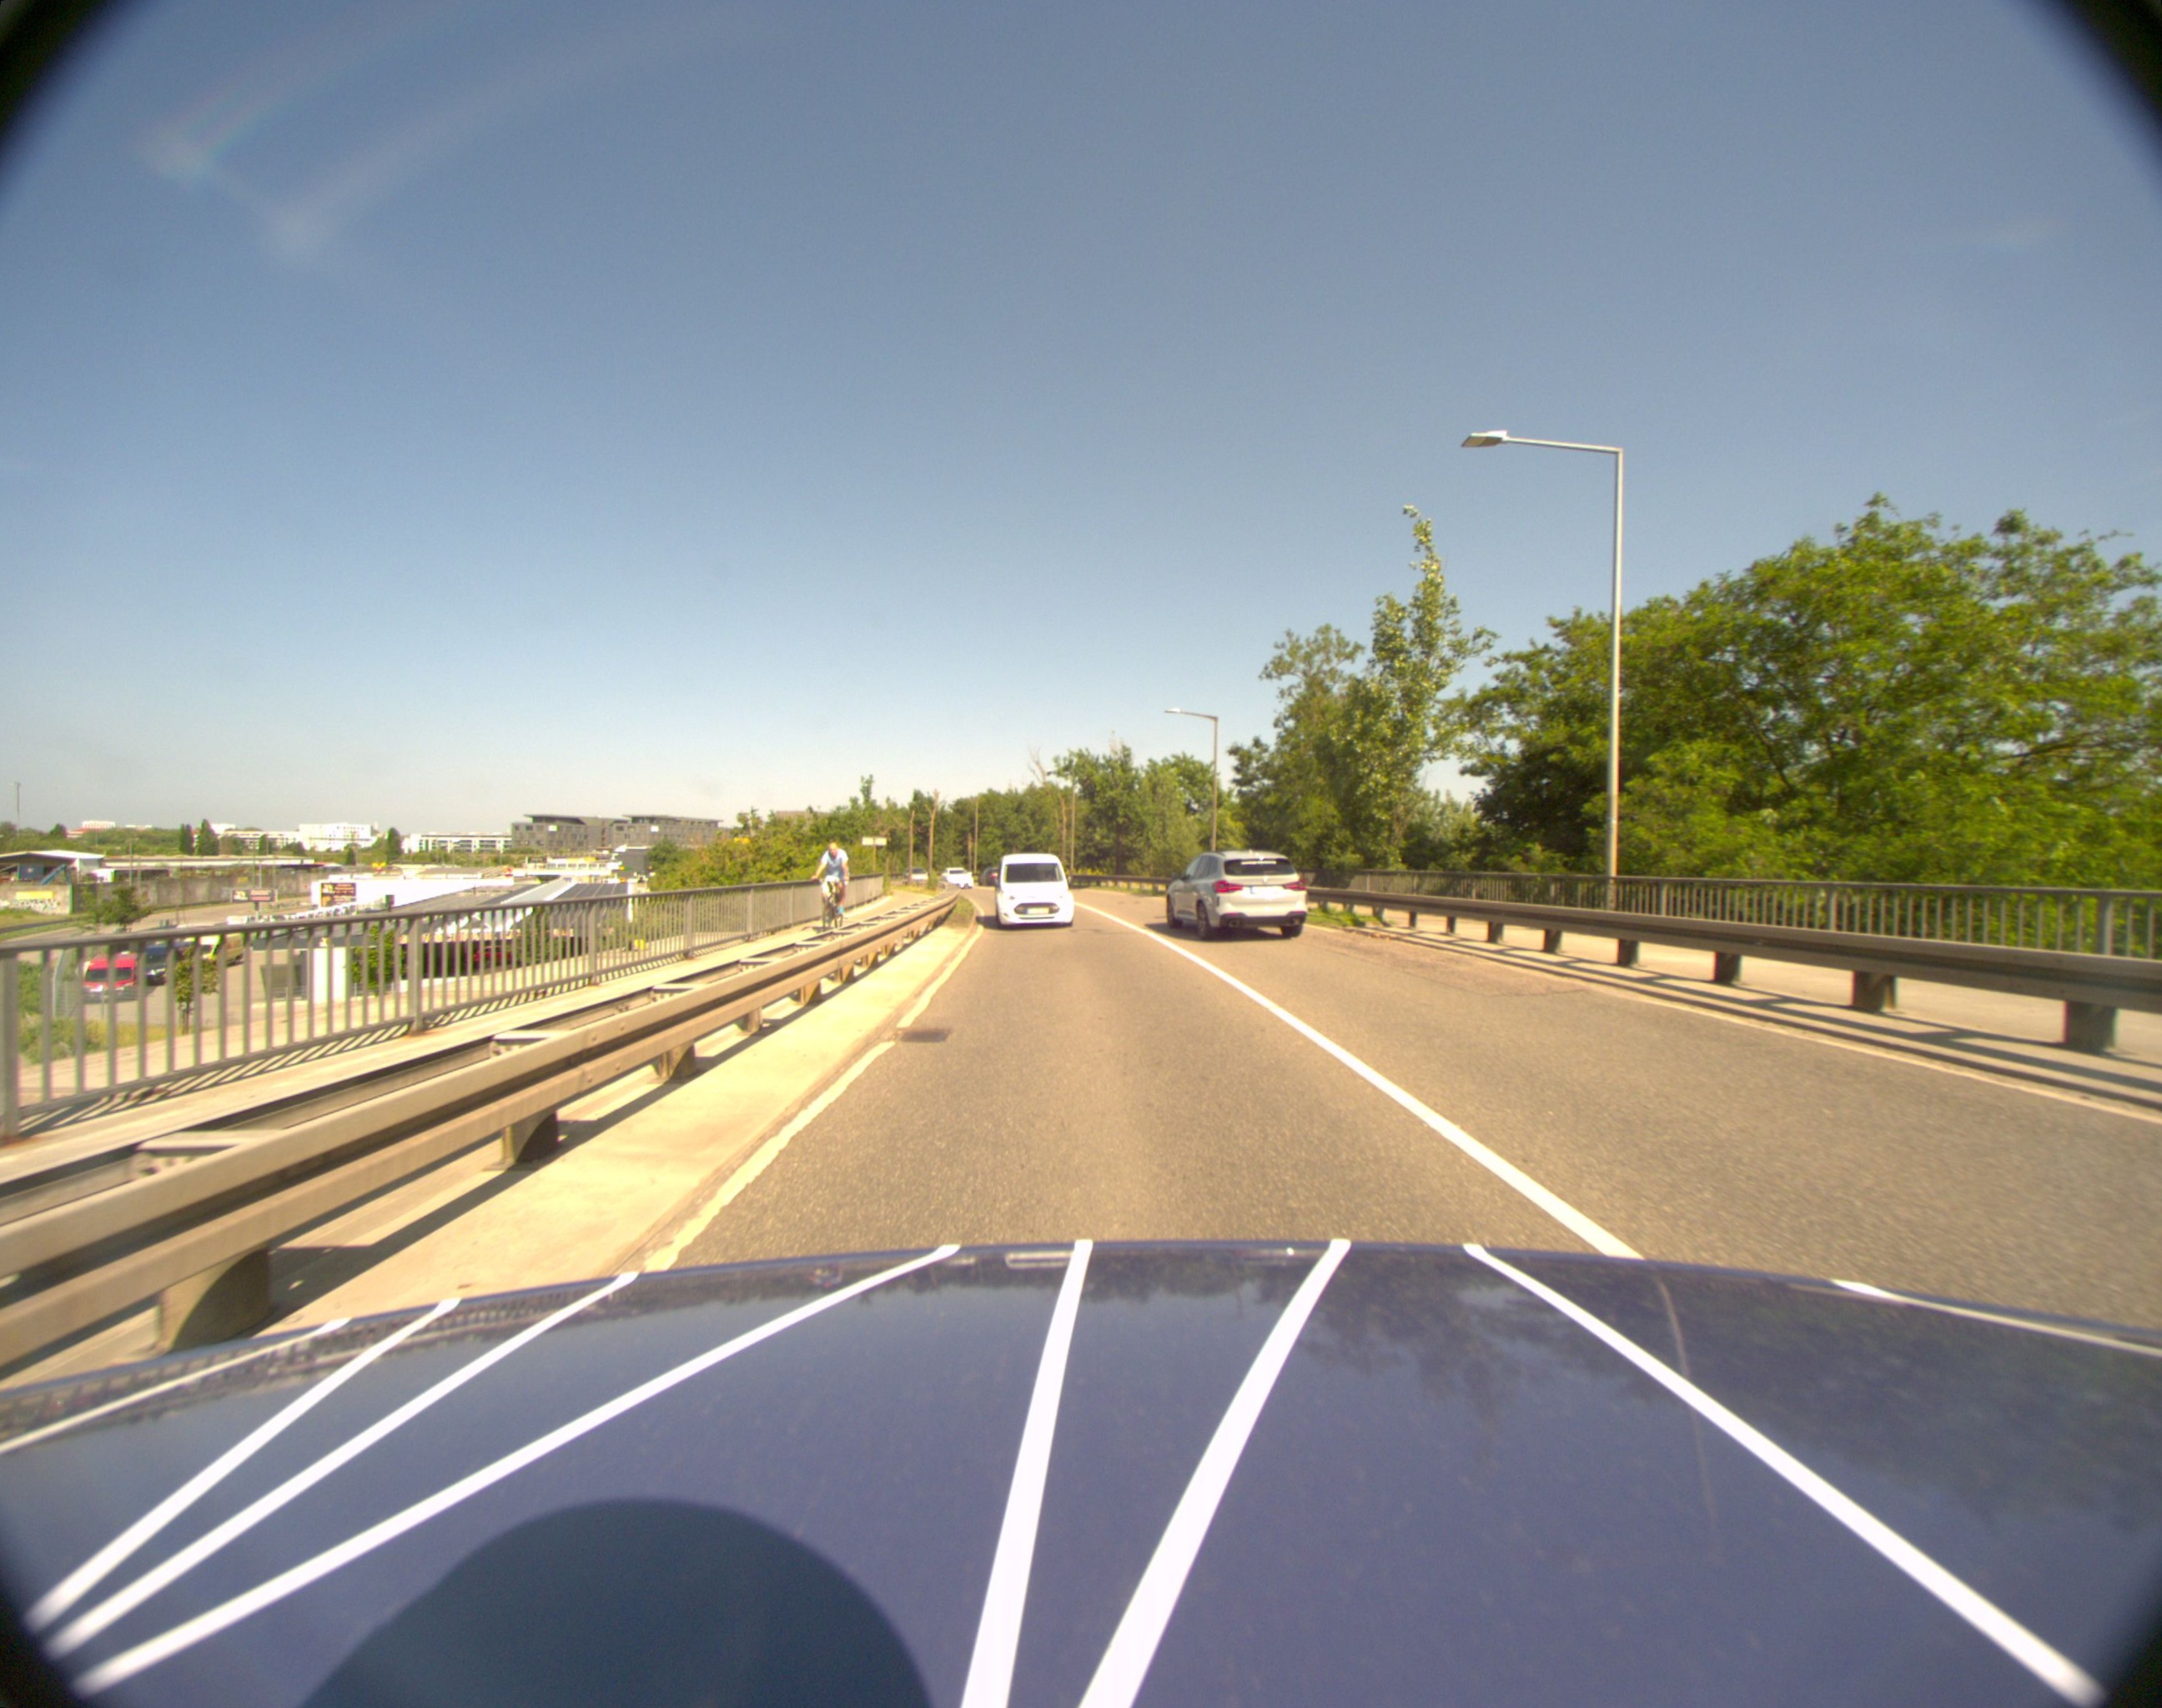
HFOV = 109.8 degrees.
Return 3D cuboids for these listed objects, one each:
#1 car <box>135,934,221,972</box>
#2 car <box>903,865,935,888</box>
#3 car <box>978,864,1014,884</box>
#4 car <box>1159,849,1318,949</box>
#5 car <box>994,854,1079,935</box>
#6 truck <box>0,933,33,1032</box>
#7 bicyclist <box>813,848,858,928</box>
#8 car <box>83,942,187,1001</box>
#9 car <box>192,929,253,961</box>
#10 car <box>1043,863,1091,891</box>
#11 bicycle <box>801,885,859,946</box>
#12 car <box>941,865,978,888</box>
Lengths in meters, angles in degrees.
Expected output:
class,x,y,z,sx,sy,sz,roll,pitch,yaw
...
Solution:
class,x,y,z,sx,sy,sz,roll,pitch,yaw
car,-63.511,6.932,53.598,2.311,1.666,5.363,-7,5,-33
car,-14.284,1.970,66.852,2.001,1.577,3.991,-7,4,-20
car,-6.435,1.472,57.188,1.724,1.390,4.175,-1,0,-20
car,2.999,0.766,15.507,1.863,1.672,4.470,-2,1,-6
car,-1.218,0.927,19.539,1.898,1.784,4.445,-2,0,-5
truck,-60.288,6.821,40.859,13.232,4.005,3.832,0,-1,39
bicyclist,-4.827,0.656,14.956,0.660,1.511,0.802,2,1,-8
car,-59.970,7.362,48.311,2.311,2.650,5.363,-7,5,-33
car,-66.875,7.063,59.260,2.002,1.860,3.990,-7,3,-33
car,-0.824,1.254,42.057,1.745,1.448,4.294,-1,-1,-14
bicycle,-4.804,1.145,14.658,0.704,1.014,1.844,3,-1,-9
car,-8.742,1.579,54.480,1.849,1.479,4.145,-2,0,-20
